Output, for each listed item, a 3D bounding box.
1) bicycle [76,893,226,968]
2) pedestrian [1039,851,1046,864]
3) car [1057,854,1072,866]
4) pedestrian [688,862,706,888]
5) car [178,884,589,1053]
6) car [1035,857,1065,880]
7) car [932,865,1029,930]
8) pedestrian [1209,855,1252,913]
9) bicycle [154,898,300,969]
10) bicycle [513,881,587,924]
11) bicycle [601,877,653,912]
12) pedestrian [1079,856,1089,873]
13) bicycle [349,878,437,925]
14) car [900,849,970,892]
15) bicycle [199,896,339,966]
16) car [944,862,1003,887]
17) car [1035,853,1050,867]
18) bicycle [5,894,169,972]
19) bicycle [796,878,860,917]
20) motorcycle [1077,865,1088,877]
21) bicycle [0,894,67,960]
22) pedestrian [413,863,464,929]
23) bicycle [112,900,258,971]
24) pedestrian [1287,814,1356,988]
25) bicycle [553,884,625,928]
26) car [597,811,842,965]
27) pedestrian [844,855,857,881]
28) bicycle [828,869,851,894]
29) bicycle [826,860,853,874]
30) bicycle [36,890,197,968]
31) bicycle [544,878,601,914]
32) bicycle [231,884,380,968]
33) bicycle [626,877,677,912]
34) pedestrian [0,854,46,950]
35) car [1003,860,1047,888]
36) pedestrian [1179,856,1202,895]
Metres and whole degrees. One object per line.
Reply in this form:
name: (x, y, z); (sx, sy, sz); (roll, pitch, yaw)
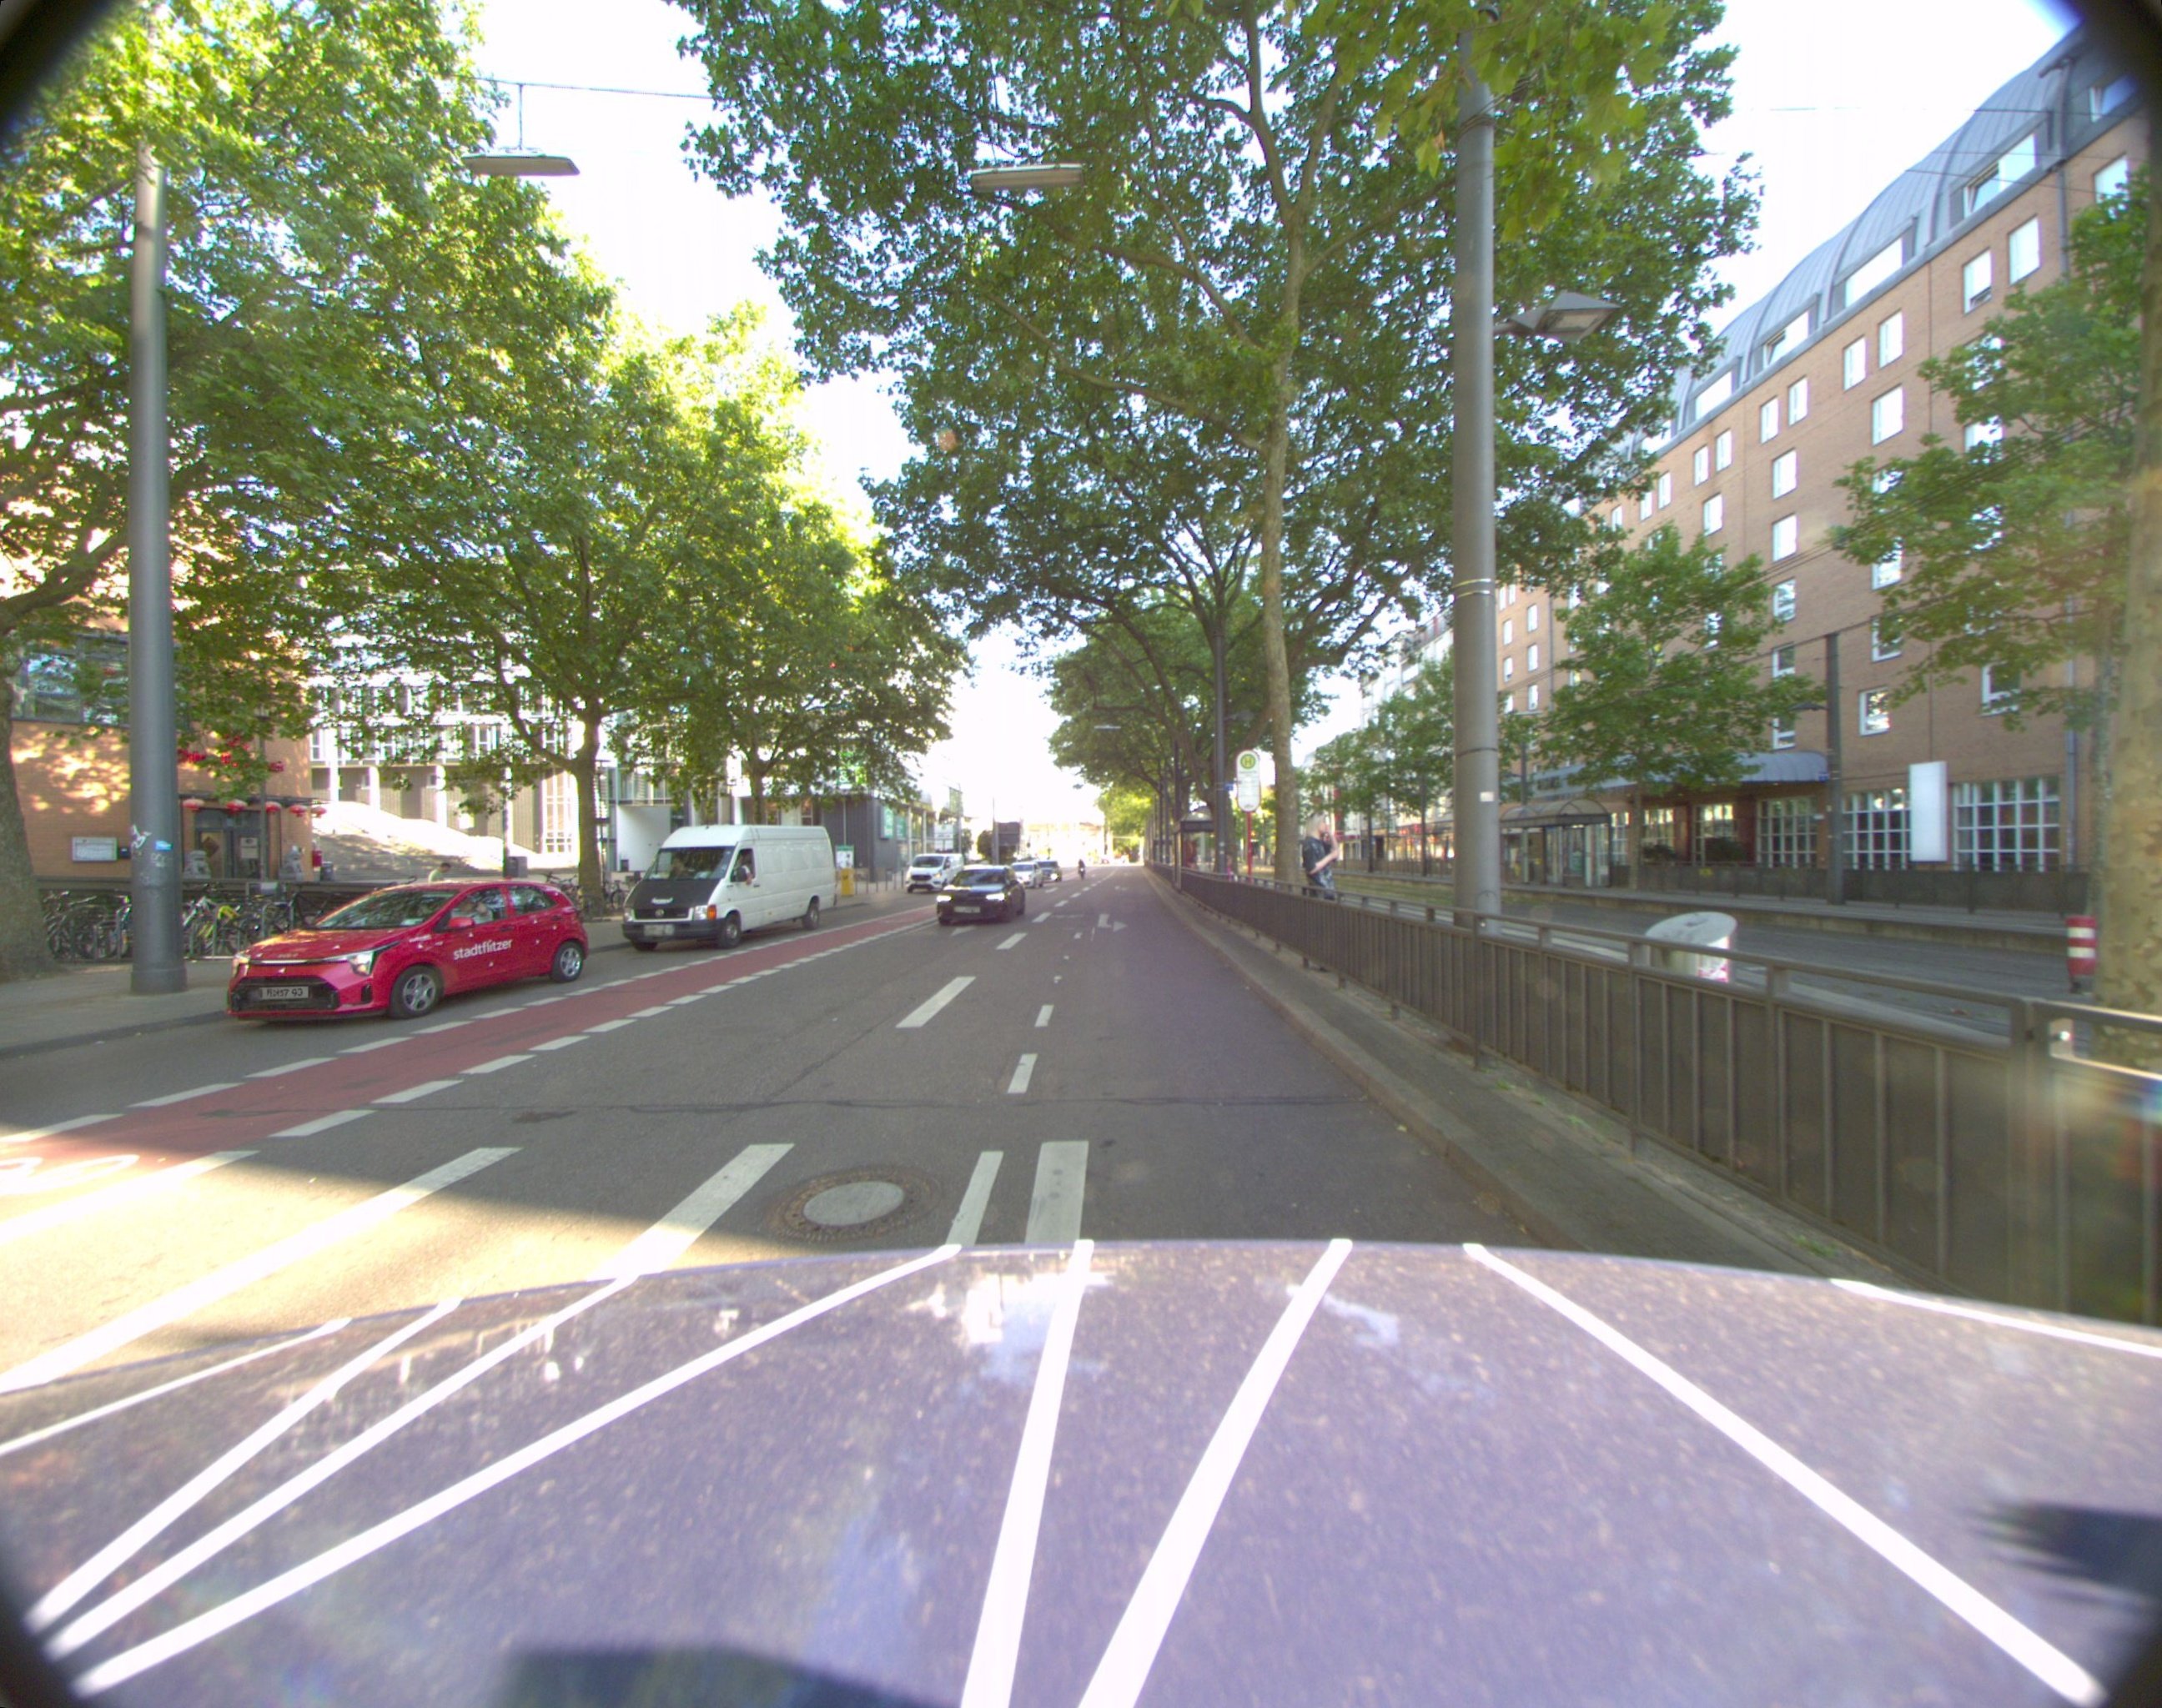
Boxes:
bicycle: (-15.876, 1.272, 13.037); (0.503, 1.130, 1.655); (0, 0, 1)
pedestrian: (-4.808, 0.398, 94.452); (0.753, 1.565, 0.912); (-1, 1, 6)
car: (-2.392, 0.871, 110.997); (1.998, 1.681, 3.999); (-2, 1, 1)
pedestrian: (-21.437, 1.157, 42.423); (0.712, 1.447, 0.601); (0, 1, 4)
car: (-7.956, 1.182, 9.199); (1.562, 1.455, 3.621); (-2, 0, 1)
car: (-2.242, 1.018, 55.451); (1.785, 1.628, 4.022); (0, 0, 3)
car: (-2.545, 1.078, 20.334); (1.827, 1.416, 4.346); (-2, 0, 2)
pedestrian: (3.795, 0.753, 19.383); (0.979, 1.392, 0.664); (-2, 1, 6)
bicycle: (-14.542, 1.322, 13.012); (0.597, 1.026, 1.655); (0, 0, 1)
bicycle: (-14.028, 1.257, 20.125); (0.596, 1.041, 1.656); (0, 0, 9)
bicycle: (-14.673, 1.290, 24.609); (0.597, 1.041, 1.655); (0, 0, 4)
pedestrian: (0.220, 0.800, 56.955); (0.665, 1.218, 0.775); (0, 1, 4)
bicycle: (-17.746, 1.201, 19.657); (0.596, 1.119, 1.656); (0, 0, 9)
car: (-7.608, 0.814, 40.166); (2.127, 2.121, 5.292); (0, 0, 6)
bicycle: (-13.851, 1.287, 13.028); (0.597, 1.026, 1.655); (0, 0, 1)
car: (-6.521, 1.224, 46.599); (1.783, 1.411, 4.028); (0, 0, 23)
car: (-5.625, 0.869, 110.648); (1.999, 1.856, 3.999); (-2, 1, -1)
bicycle: (-16.897, 1.309, 12.989); (0.479, 1.153, 1.694); (0, 0, 5)
bicycle: (-8.182, 1.386, 24.656); (0.550, 1.114, 2.131); (0, 0, 30)
motorcycle: (0.095, 1.280, 57.187); (0.667, 0.843, 2.223); (0, 0, 4)
bicycle: (-19.949, 1.353, 13.804); (0.578, 1.153, 1.770); (0, 0, 7)
pedestrian: (-16.247, 1.050, 19.221); (0.718, 1.622, 0.636); (0, 1, 7)
bicycle: (-15.285, 1.361, 13.026); (0.503, 1.026, 1.655); (0, 0, 1)
pedestrian: (2.753, 0.515, 8.733); (0.511, 1.889, 0.760); (-2, 1, 2)
bicycle: (-12.811, 1.339, 19.827); (0.596, 1.041, 1.656); (0, 0, 9)
car: (-7.562, 0.616, 17.001); (1.998, 2.708, 6.562); (-2, 0, 2)
pedestrian: (-14.881, 0.909, 49.072); (0.541, 1.666, 0.721); (-1, 1, -45)
bicycle: (-11.431, 1.293, 35.951); (0.514, 1.151, 1.540); (-1, 0, 3)
bicycle: (-18.495, 0.980, 58.161); (1.879, 1.057, 0.700); (0, 1, 2)
bicycle: (-16.364, 1.241, 12.964); (0.479, 1.153, 1.694); (0, 0, 5)
bicycle: (-16.108, 1.314, 24.103); (0.597, 1.041, 1.655); (0, 0, 4)
bicycle: (-13.191, 1.180, 13.011); (0.597, 1.257, 1.876); (0, 0, 1)
bicycle: (-13.758, 1.287, 24.375); (0.597, 1.041, 1.655); (0, 0, 4)
pedestrian: (-19.957, 0.869, 13.846); (0.788, 1.747, 1.020); (0, 1, 6)
car: (-3.088, 1.064, 42.613); (1.670, 1.455, 3.871); (0, 0, 7)
pedestrian: (3.988, 0.772, 27.681); (0.735, 1.379, 0.640); (-2, 1, 6)
